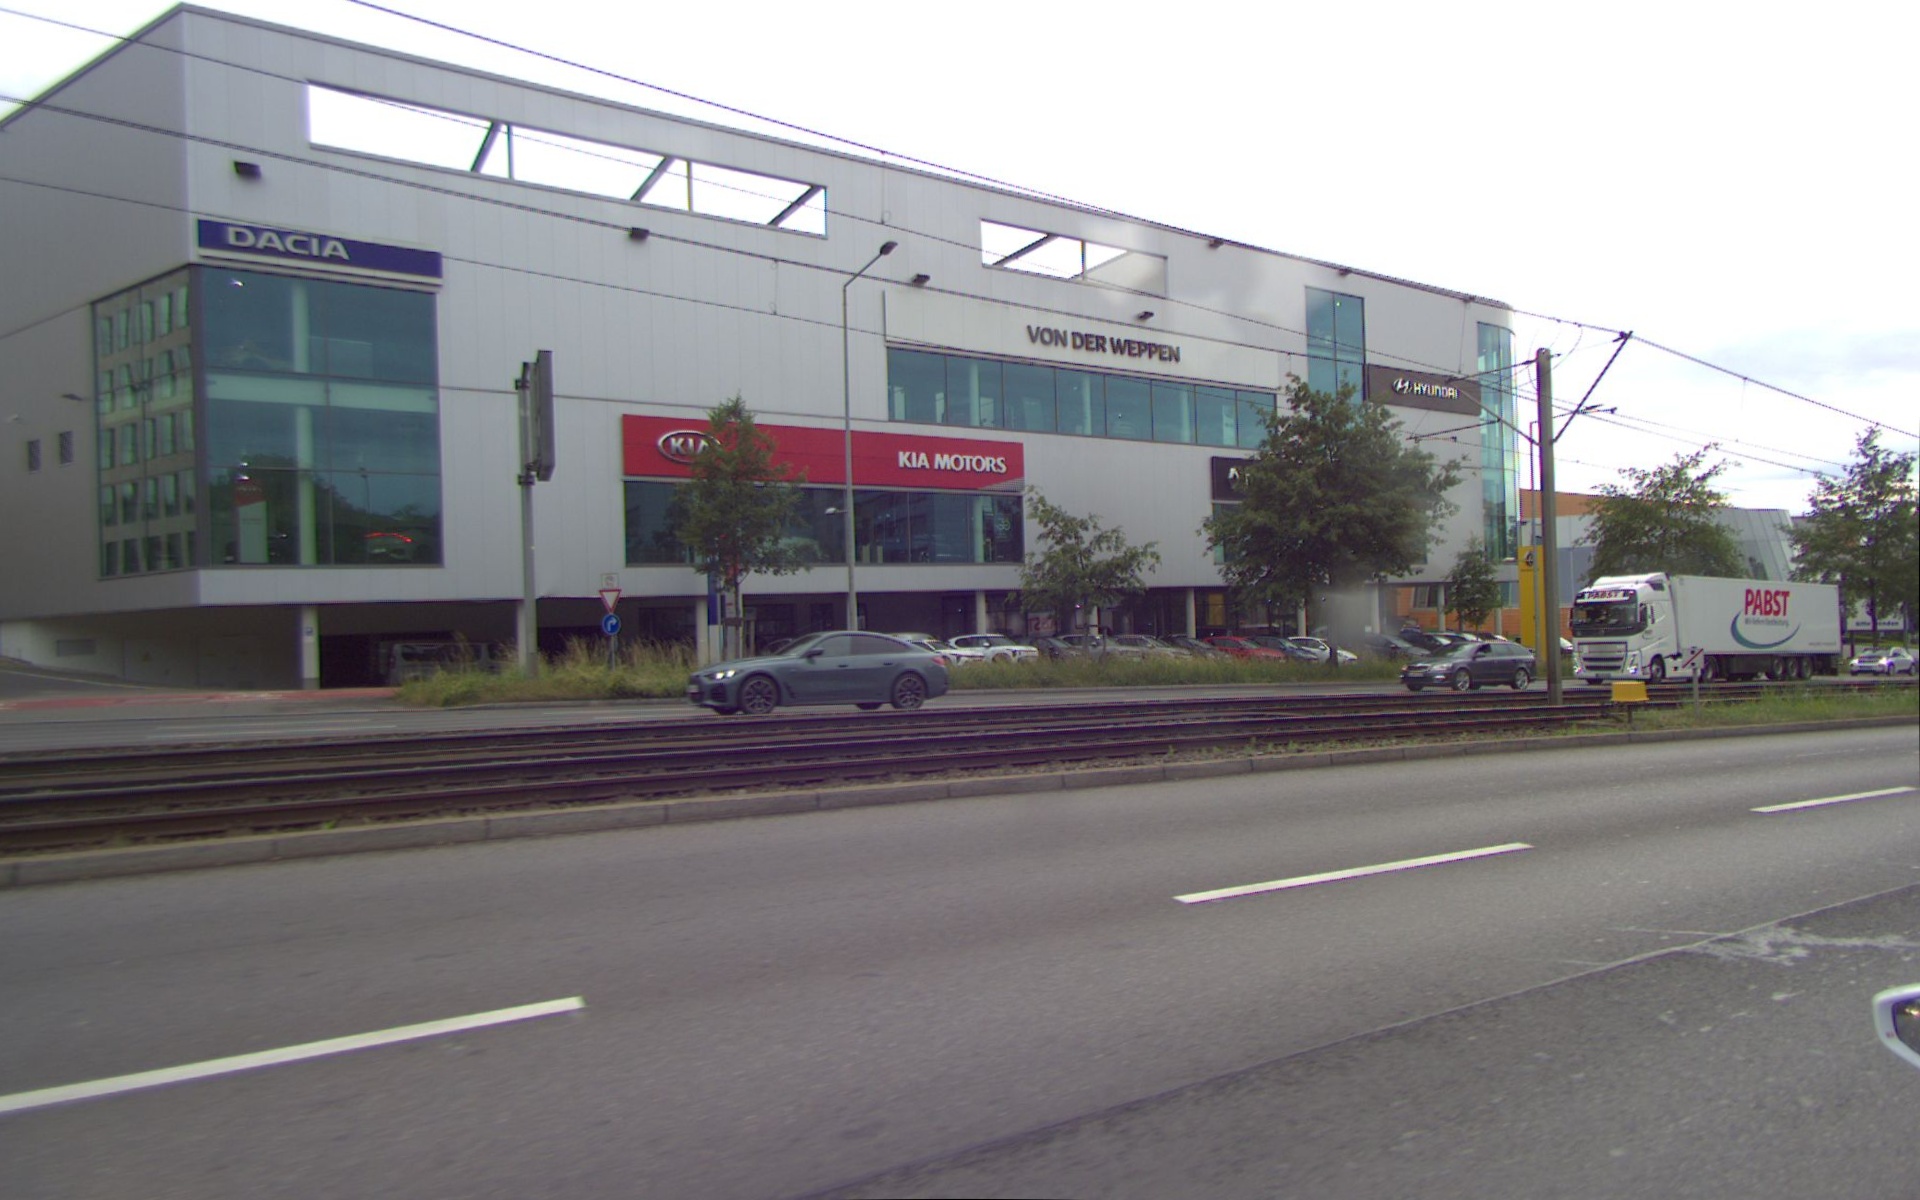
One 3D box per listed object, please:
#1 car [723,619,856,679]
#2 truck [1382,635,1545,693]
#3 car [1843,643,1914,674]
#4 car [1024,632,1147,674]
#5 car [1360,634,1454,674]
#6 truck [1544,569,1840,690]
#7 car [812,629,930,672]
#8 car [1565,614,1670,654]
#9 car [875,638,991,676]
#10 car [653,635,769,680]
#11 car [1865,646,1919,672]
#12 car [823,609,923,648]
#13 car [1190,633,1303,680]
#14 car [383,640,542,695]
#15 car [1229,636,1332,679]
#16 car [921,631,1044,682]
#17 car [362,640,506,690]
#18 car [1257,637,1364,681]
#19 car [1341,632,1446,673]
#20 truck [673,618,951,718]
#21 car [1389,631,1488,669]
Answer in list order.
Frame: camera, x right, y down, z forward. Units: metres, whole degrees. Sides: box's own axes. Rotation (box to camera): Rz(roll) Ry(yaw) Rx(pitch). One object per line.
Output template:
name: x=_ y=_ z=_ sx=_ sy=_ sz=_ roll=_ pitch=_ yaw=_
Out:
car: x=-6.053 y=1.694 z=35.344 sx=4.900 sy=1.958 sz=2.009 roll=-1 pitch=-3 yaw=42
truck: x=14.833 y=1.895 z=29.566 sx=4.483 sy=1.588 sz=1.937 roll=2 pitch=-4 yaw=-25
car: x=50.490 y=3.217 z=55.224 sx=3.847 sy=1.564 sz=1.657 roll=2 pitch=-1 yaw=-27
car: x=5.235 y=2.186 z=42.398 sx=4.947 sy=1.675 sz=2.009 roll=-1 pitch=-3 yaw=42
car: x=23.790 y=2.835 z=53.590 sx=1.855 sy=2.002 sz=4.321 roll=2 pitch=-2 yaw=-34
truck: x=30.219 y=1.128 z=40.869 sx=16.993 sy=4.236 sz=3.028 roll=1 pitch=0 yaw=-30
car: x=-3.749 y=2.094 z=42.337 sx=4.550 sy=1.686 sz=2.019 roll=-1 pitch=-2 yaw=25
car: x=41.713 y=2.125 z=63.798 sx=2.007 sy=2.343 sz=5.251 roll=2 pitch=-1 yaw=-44
car: x=-1.054 y=2.107 z=37.930 sx=4.274 sy=1.324 sz=1.862 roll=-1 pitch=-3 yaw=42
car: x=-11.554 y=2.635 z=46.695 sx=4.889 sy=1.936 sz=1.981 roll=1 pitch=-1 yaw=-34
car: x=75.120 y=4.712 z=79.891 sx=2.074 sy=1.834 sz=4.301 roll=0 pitch=0 yaw=-31
car: x=-4.491 y=1.464 z=52.086 sx=4.795 sy=1.936 sz=1.981 roll=1 pitch=-1 yaw=-34
car: x=12.973 y=2.519 z=45.600 sx=4.550 sy=2.002 sz=2.009 roll=-1 pitch=-3 yaw=42
car: x=-17.577 y=2.319 z=35.566 sx=4.886 sy=1.748 sz=1.983 roll=1 pitch=-1 yaw=-32
car: x=15.063 y=2.669 z=47.342 sx=1.871 sy=1.889 sz=4.302 roll=2 pitch=-3 yaw=-43
car: x=0.834 y=2.161 z=39.029 sx=4.571 sy=1.851 sz=2.009 roll=-1 pitch=-3 yaw=42
car: x=-20.836 y=2.532 z=39.883 sx=4.889 sy=1.815 sz=1.981 roll=1 pitch=-1 yaw=-34
car: x=16.939 y=2.827 z=48.756 sx=2.004 sy=2.002 sz=4.563 roll=2 pitch=-3 yaw=-40
car: x=21.933 y=2.613 z=51.014 sx=1.999 sy=2.002 sz=4.573 roll=2 pitch=-2 yaw=-34
truck: x=-2.594 y=1.215 z=17.998 sx=4.542 sy=1.588 sz=1.932 roll=3 pitch=-4 yaw=-32
car: x=26.339 y=2.726 z=55.438 sx=1.999 sy=2.002 sz=4.573 roll=2 pitch=-2 yaw=-34
